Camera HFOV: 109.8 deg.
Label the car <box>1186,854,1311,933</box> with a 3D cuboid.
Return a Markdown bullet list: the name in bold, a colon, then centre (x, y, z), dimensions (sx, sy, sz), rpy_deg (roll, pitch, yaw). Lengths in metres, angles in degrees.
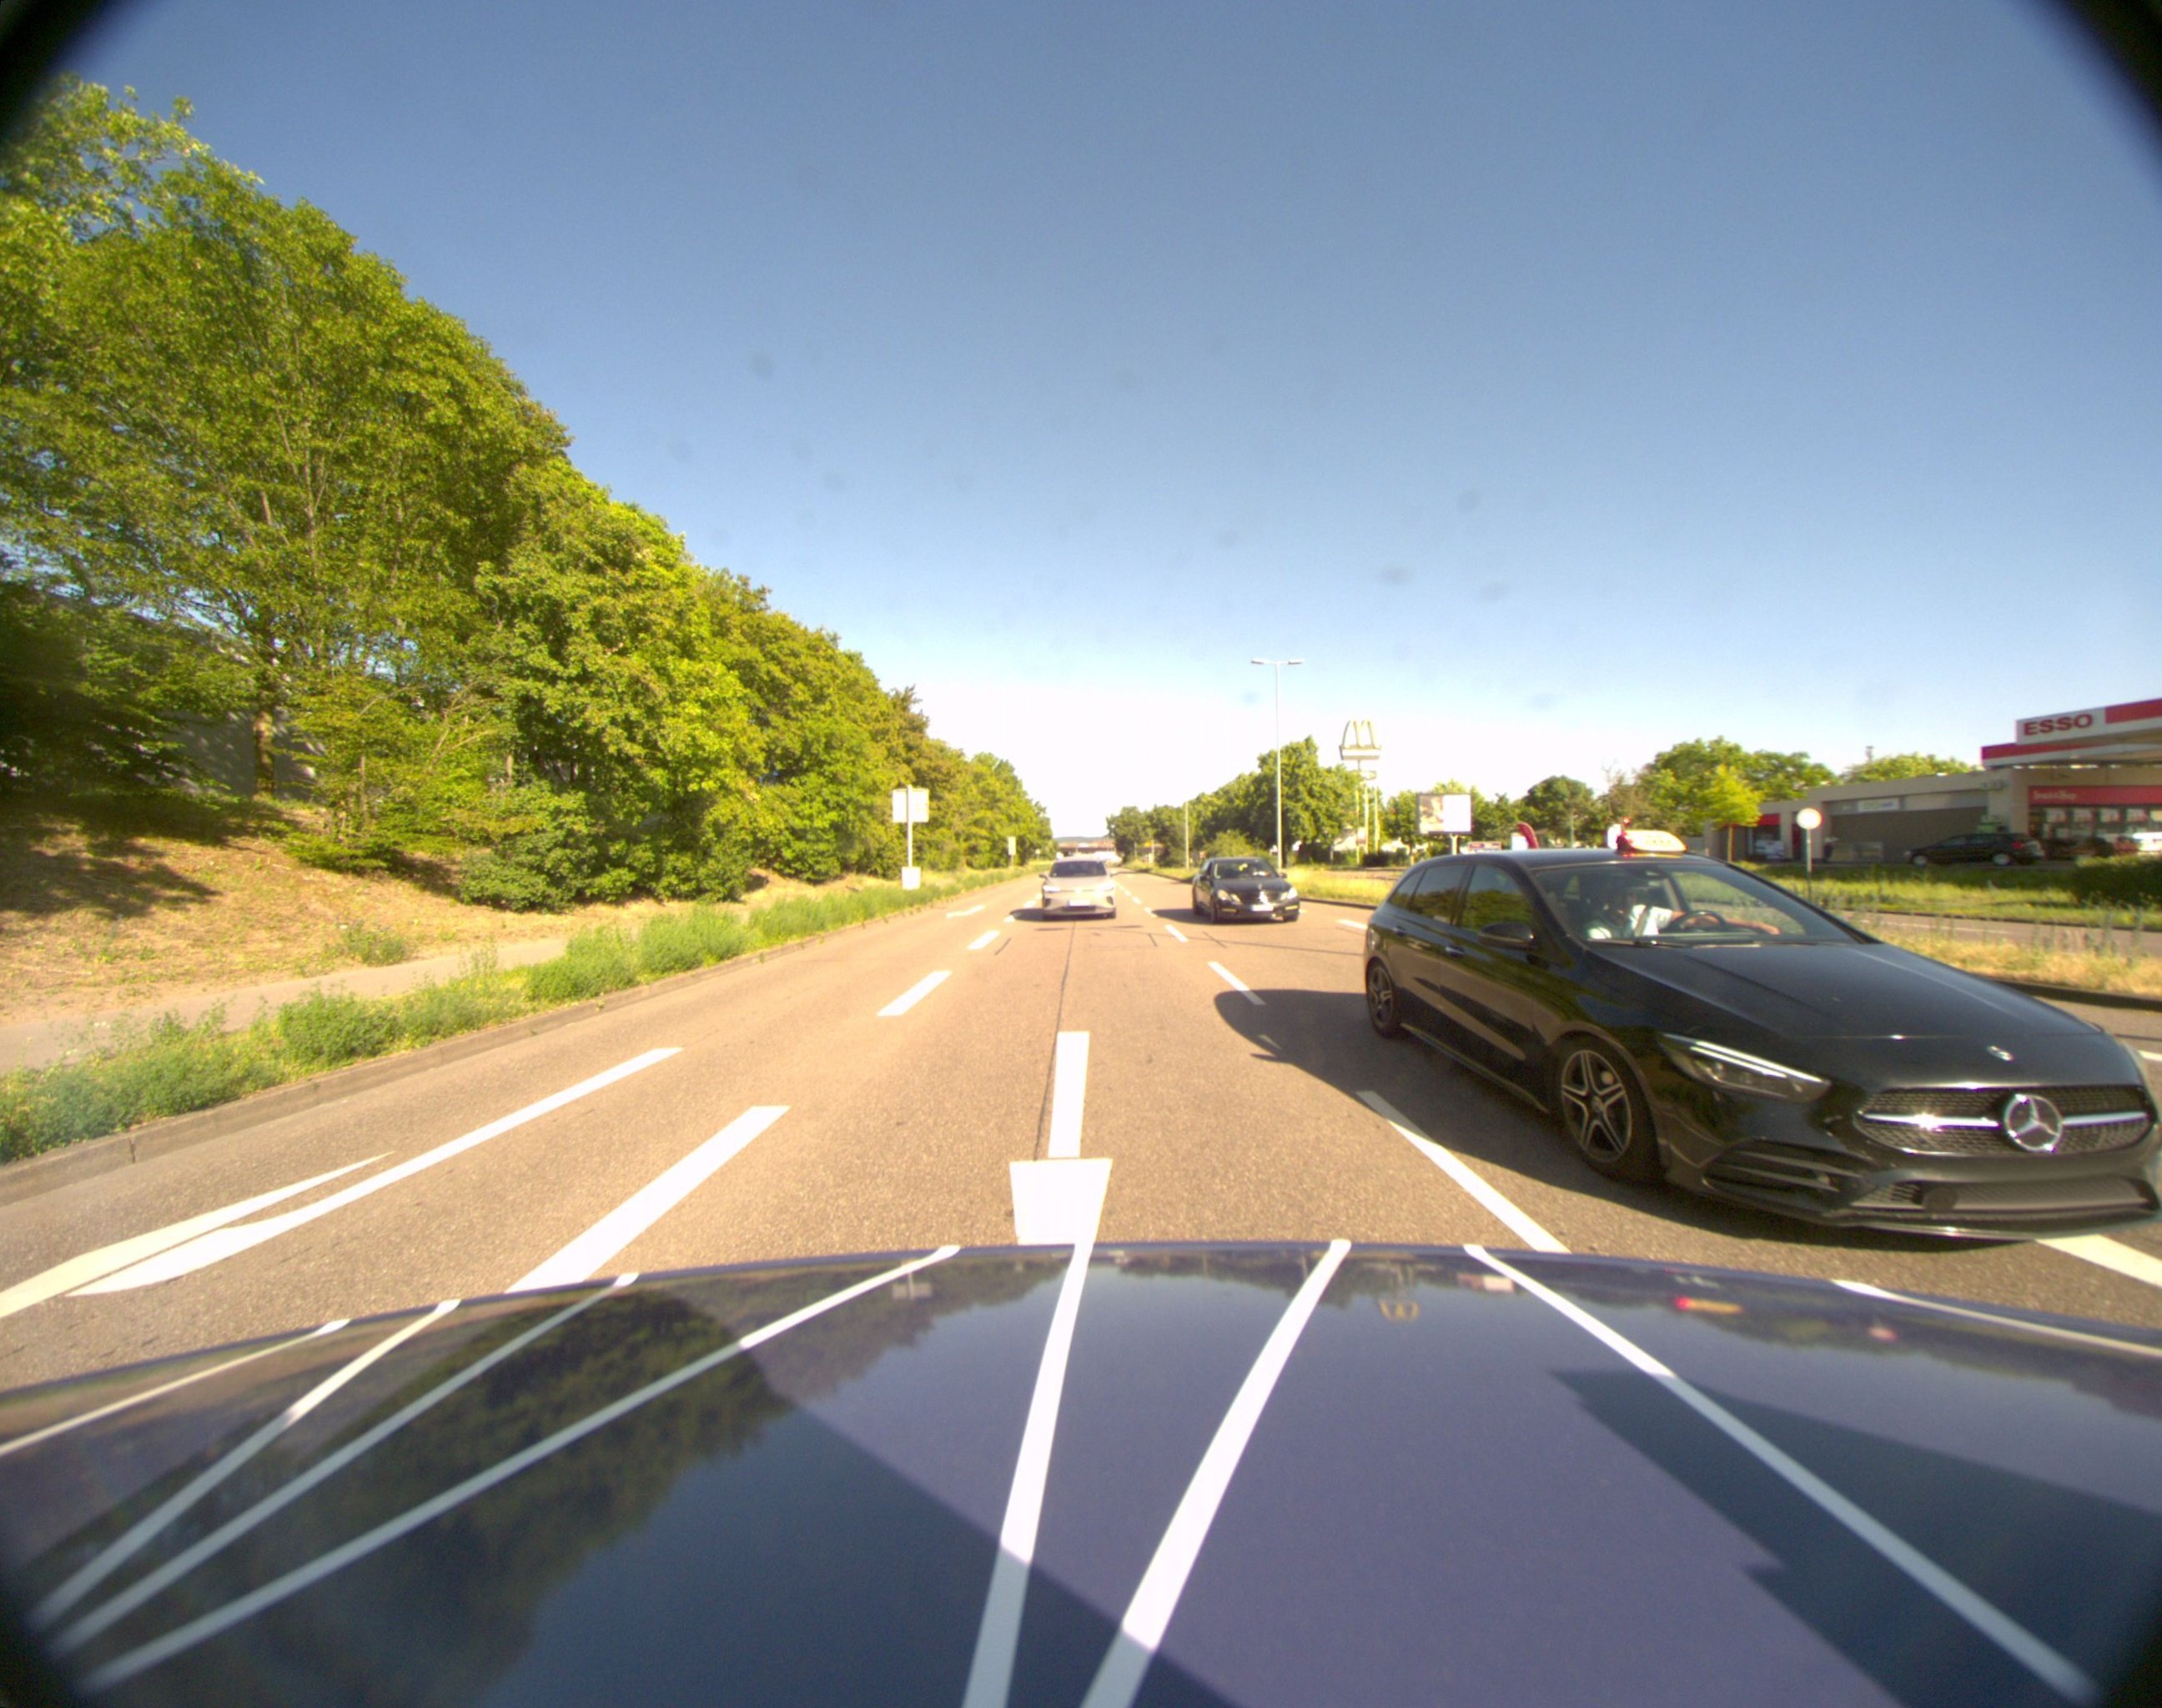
- **car**: centre (3.758, 0.811, 17.853), dimensions (1.953, 1.501, 4.462), rpy_deg (-2, 1, 1)

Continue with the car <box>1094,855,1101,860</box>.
- **car**: centre (4.887, 0.950, 223.849), dimensions (1.998, 1.433, 4.000), rpy_deg (-1, 0, 1)

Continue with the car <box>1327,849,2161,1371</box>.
- **car**: centre (3.175, 0.801, 4.669), dimensions (1.788, 1.592, 4.583), rpy_deg (-2, 0, 0)

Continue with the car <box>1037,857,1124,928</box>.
- **car**: centre (0.021, 0.926, 20.182), dimensions (2.025, 1.601, 4.098), rpy_deg (-2, 0, 1)

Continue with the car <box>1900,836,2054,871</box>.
- **car**: centre (38.841, -0.005, 33.097), dimensions (1.998, 1.397, 4.000), rpy_deg (-1, 0, 0)
